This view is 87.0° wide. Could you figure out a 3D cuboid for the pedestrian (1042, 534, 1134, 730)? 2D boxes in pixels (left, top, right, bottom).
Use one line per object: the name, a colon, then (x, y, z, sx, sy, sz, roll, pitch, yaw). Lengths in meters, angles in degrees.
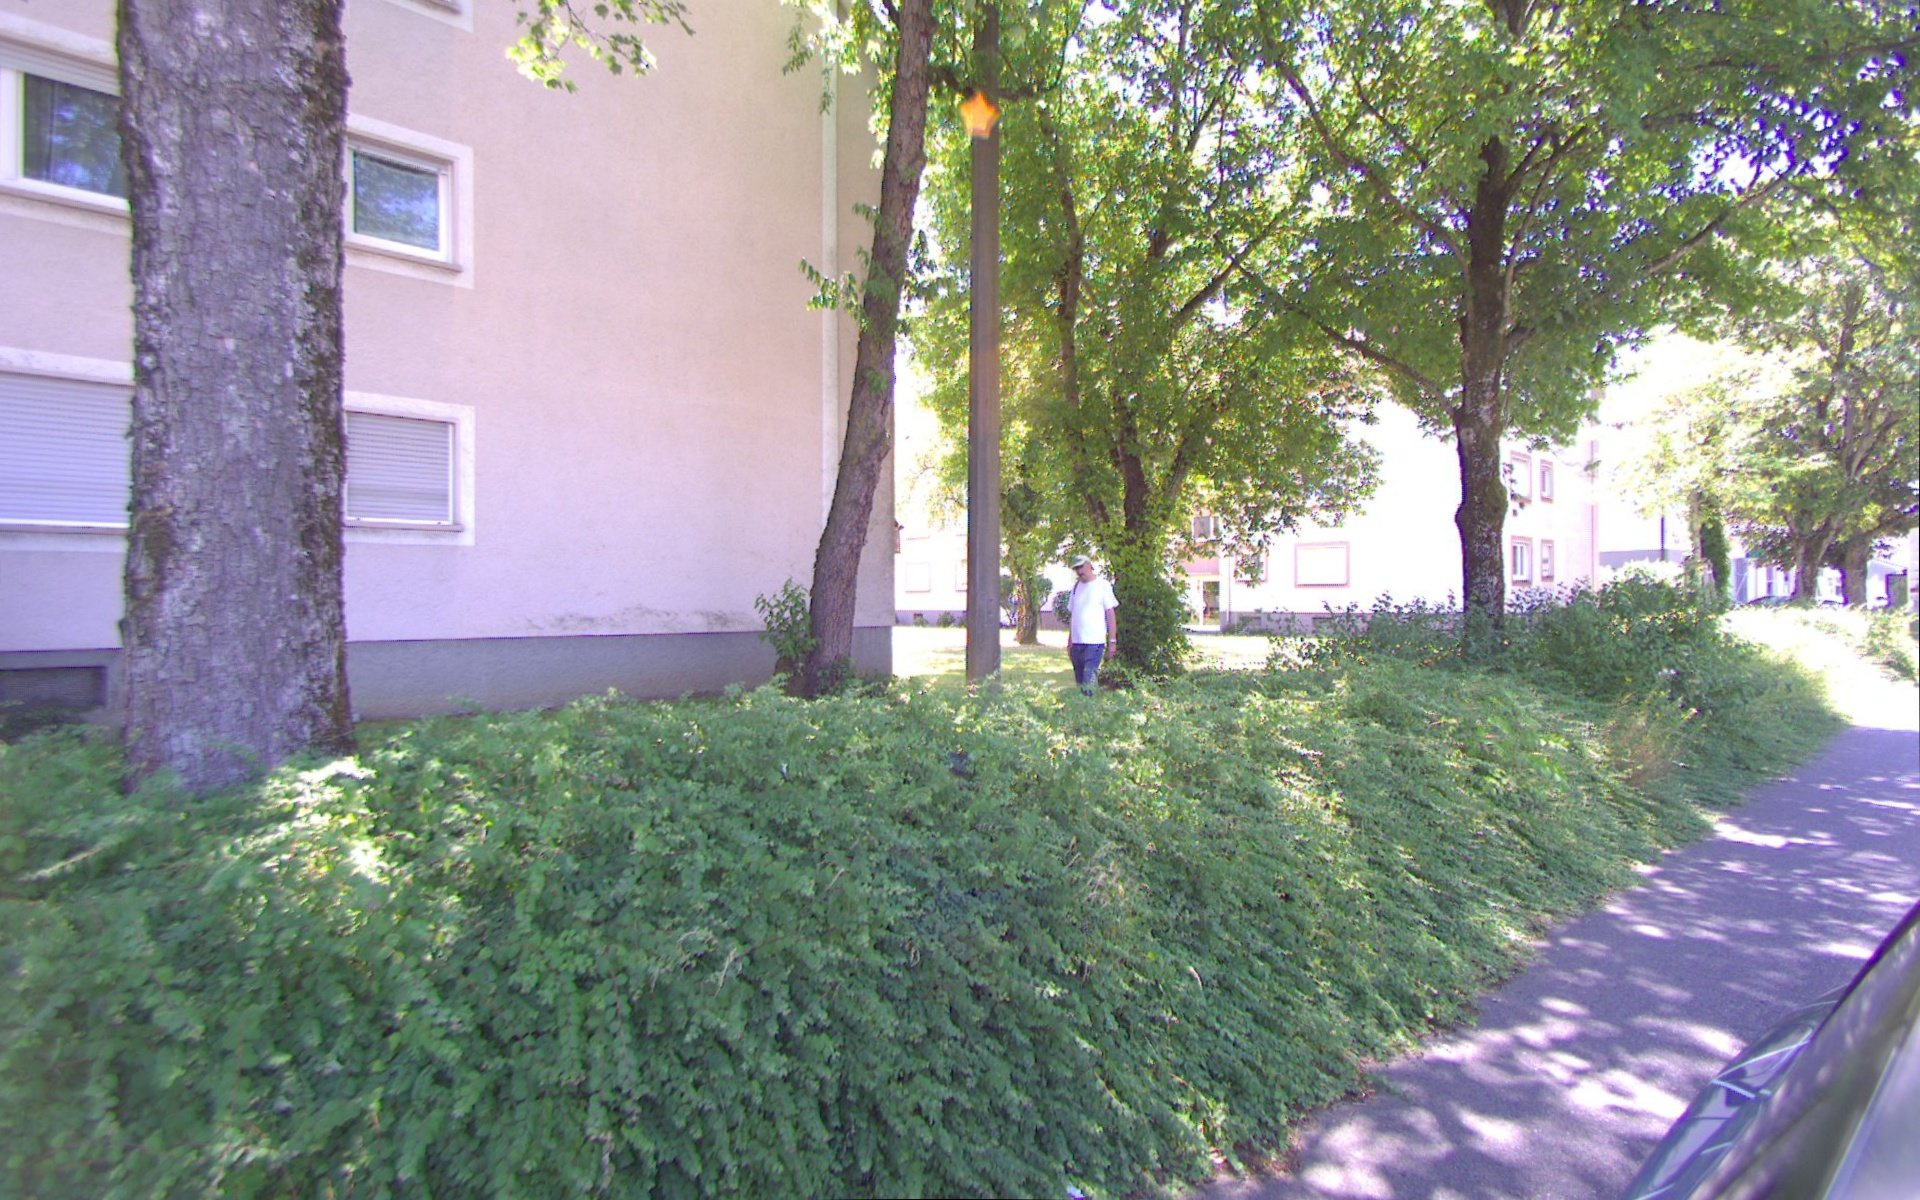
pedestrian: (1.324, 0.300, 10.367, 0.668, 1.897, 0.894, 0, 0, 28)
